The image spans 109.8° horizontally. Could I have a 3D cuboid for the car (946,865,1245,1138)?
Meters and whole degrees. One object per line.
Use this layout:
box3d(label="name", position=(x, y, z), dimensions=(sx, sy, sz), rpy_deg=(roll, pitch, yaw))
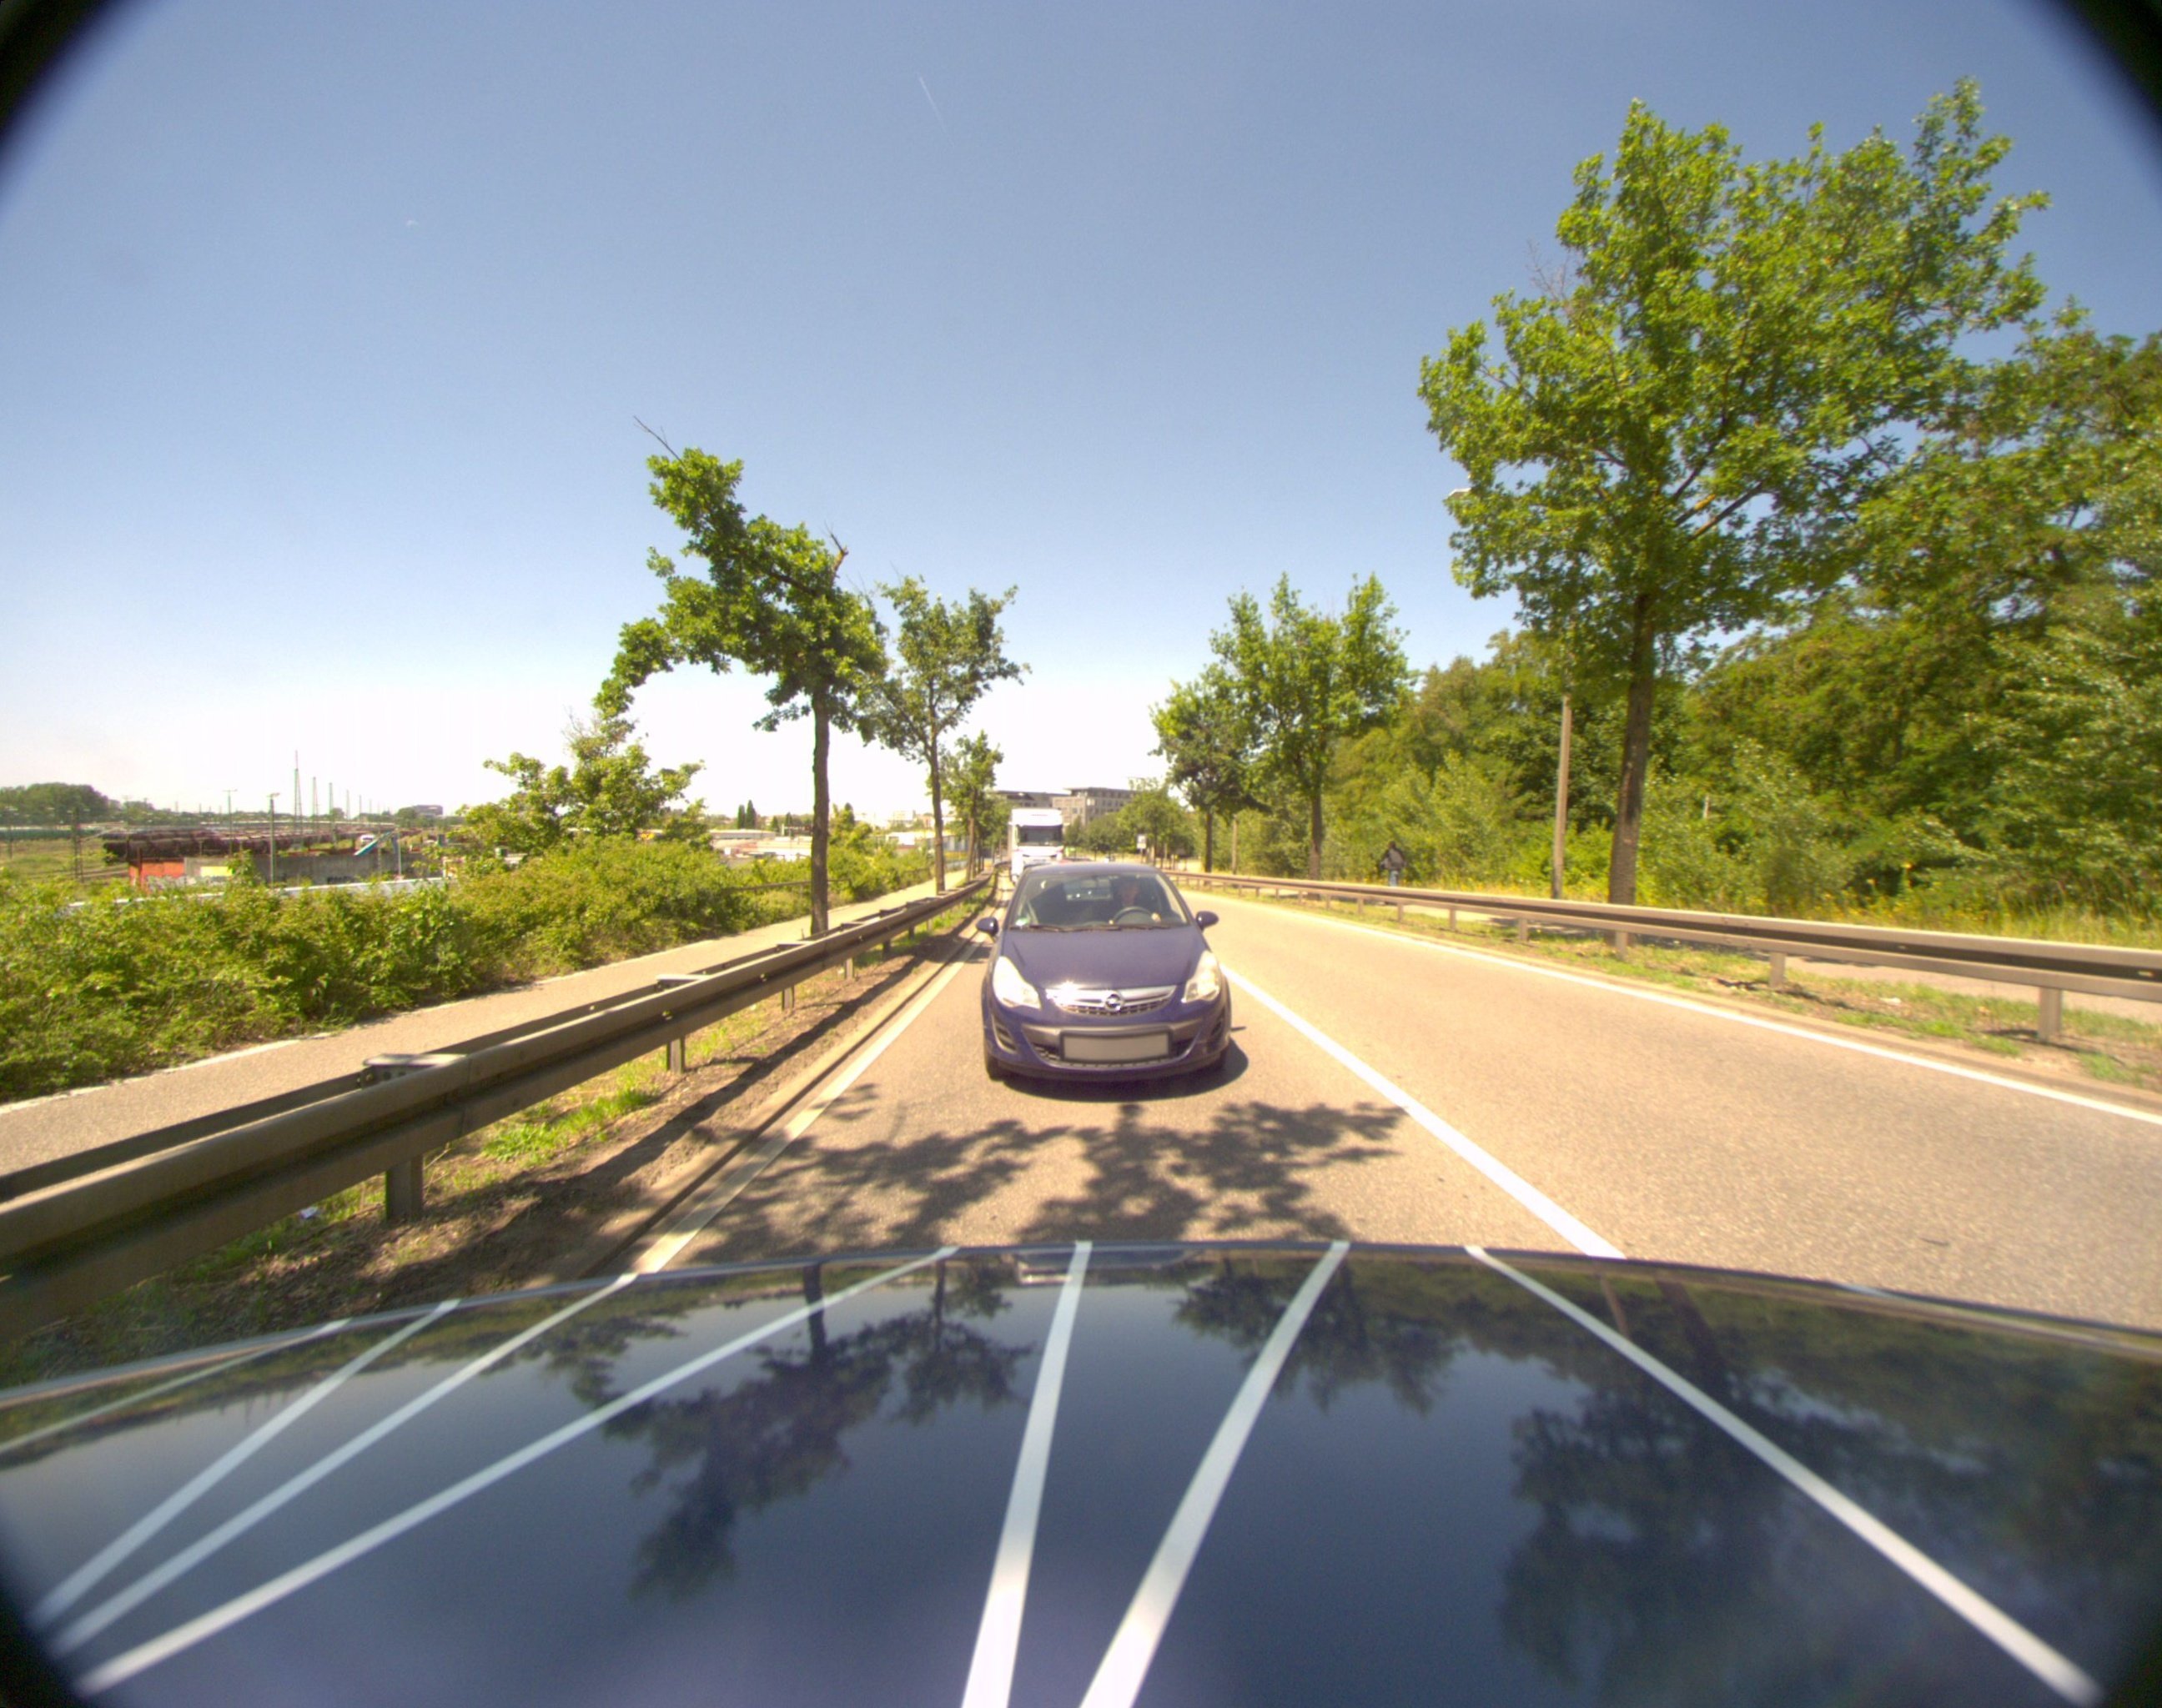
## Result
box3d(label="car", position=(0.002, 0.890, 6.386), dimensions=(1.720, 1.455, 3.836), rpy_deg=(-2, 1, -3))

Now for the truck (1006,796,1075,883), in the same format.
box3d(label="truck", position=(-2.791, -0.749, 45.384), dimensions=(3.072, 4.146, 16.900), rpy_deg=(-2, 1, -6))

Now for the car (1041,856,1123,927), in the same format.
box3d(label="car", position=(-0.018, 0.847, 18.920), dimensions=(1.780, 1.498, 3.895), rpy_deg=(-2, 1, -1))

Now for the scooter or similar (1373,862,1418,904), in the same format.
box3d(label="scooter or similar", position=(8.769, 0.803, 21.218), dimensions=(0.779, 1.085, 1.095), rpy_deg=(-2, 1, 1))

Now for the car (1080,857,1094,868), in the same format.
box3d(label="car", position=(1.158, 1.593, 142.501), dimensions=(1.778, 2.002, 4.003), rpy_deg=(-2, 1, 12))

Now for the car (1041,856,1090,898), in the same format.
box3d(label="car", position=(-0.705, 0.920, 31.955), dimensions=(1.781, 1.569, 3.998), rpy_deg=(-2, 1, -5))

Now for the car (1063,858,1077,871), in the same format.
box3d(label="car", position=(-1.758, 1.722, 126.735), dimensions=(1.779, 2.002, 4.001), rpy_deg=(-2, 1, 6))

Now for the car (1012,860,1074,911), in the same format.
box3d(label="car", position=(-1.191, 0.938, 24.551), dimensions=(1.780, 1.398, 3.999), rpy_deg=(-2, 1, -2))

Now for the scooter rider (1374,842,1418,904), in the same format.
box3d(label="scooter rider", position=(8.774, 0.510, 21.199), dimensions=(0.779, 1.648, 1.121), rpy_deg=(-2, 1, 2))
